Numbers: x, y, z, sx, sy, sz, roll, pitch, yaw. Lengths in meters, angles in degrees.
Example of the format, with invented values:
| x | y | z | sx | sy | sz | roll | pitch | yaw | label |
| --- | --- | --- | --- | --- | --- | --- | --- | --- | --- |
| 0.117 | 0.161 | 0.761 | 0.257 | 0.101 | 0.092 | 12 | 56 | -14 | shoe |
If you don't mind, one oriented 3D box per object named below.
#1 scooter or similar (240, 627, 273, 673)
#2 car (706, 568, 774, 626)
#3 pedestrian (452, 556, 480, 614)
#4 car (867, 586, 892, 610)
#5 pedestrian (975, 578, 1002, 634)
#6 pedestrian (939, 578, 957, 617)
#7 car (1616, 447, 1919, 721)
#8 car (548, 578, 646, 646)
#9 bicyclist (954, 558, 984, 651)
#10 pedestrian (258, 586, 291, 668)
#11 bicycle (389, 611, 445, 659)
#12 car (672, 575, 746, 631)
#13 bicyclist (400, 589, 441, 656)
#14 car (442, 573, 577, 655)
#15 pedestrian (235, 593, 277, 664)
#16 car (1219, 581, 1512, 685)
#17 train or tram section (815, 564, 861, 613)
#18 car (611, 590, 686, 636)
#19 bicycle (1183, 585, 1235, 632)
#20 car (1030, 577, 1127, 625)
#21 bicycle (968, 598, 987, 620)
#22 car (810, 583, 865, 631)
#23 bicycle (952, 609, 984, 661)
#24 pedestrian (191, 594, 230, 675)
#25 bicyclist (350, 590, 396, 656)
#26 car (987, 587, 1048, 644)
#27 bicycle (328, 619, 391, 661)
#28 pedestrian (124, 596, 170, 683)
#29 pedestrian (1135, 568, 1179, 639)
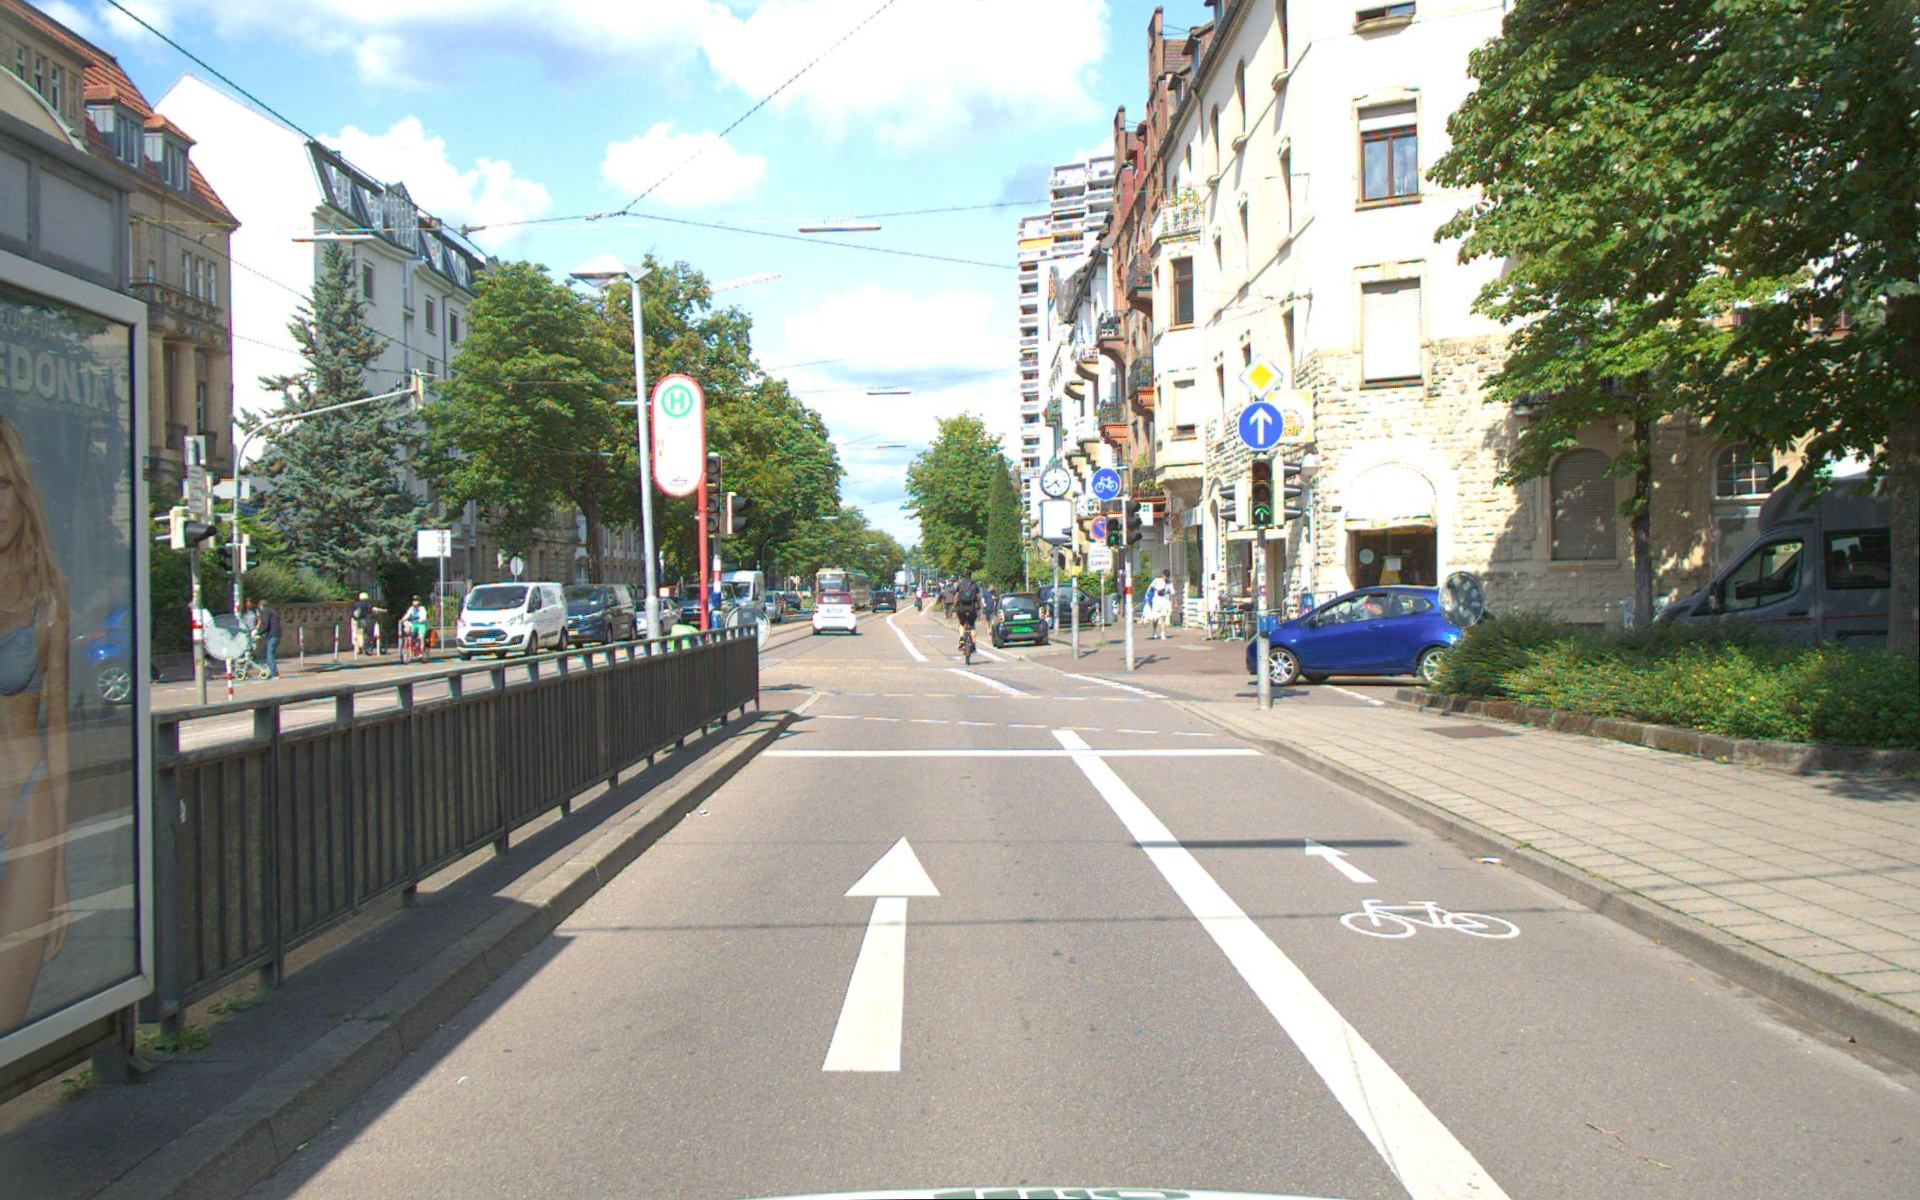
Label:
| x | y | z | sx | sy | sz | roll | pitch | yaw | label |
| --- | --- | --- | --- | --- | --- | --- | --- | --- | --- |
| -14.665 | 1.041 | 34.497 | 0.538 | 0.938 | 0.498 | 1 | -1 | -15 | scooter or similar |
| -10.074 | -0.194 | 76.277 | 2.268 | 2.551 | 6.363 | -1 | 1 | 0 | car |
| -17.734 | -0.539 | 59.403 | 0.475 | 2.049 | 0.803 | 1 | -1 | 32 | pedestrian |
| -5.829 | -0.150 | 120.384 | 1.631 | 1.653 | 3.620 | -1 | 0 | -1 | car |
| 0.980 | 0.211 | 57.567 | 0.647 | 1.873 | 0.871 | -5 | 0 | -9 | pedestrian |
| -0.605 | -0.120 | 81.479 | 0.773 | 1.894 | 0.579 | -1 | -4 | -8 | pedestrian |
| 10.814 | -0.184 | 17.945 | 2.370 | 2.843 | 6.578 | -1 | 1 | -40 | car |
| -11.230 | 0.353 | 51.474 | 1.888 | 1.950 | 5.123 | -2 | 0 | 0 | car |
| 0.194 | 0.104 | 35.874 | 0.595 | 1.982 | 1.130 | 1 | 0 | -1 | bicyclist |
| -14.394 | 0.565 | 34.743 | 0.511 | 1.686 | 0.749 | 1 | -1 | -14 | pedestrian |
| -13.983 | 0.899 | 42.646 | 0.828 | 1.180 | 1.954 | 2 | 0 | -2 | bicycle |
| -10.324 | 0.169 | 68.411 | 1.944 | 1.998 | 5.181 | -1 | -3 | 4 | car |
| -13.959 | 0.581 | 42.803 | 0.821 | 1.725 | 0.672 | 1 | -1 | -3 | bicyclist |
| -11.931 | 0.367 | 44.175 | 1.952 | 2.030 | 5.090 | 1 | 0 | 3 | car |
| -17.011 | 0.690 | 39.974 | 0.509 | 1.686 | 0.817 | 1 | -1 | 19 | pedestrian |
| 6.122 | 0.476 | 25.111 | 3.918 | 1.443 | 1.886 | -1 | 0 | 35 | car |
| -9.495 | -0.833 | 129.576 | 2.599 | 3.496 | 12.313 | -3 | 0 | 0 | train or tram section |
| -11.049 | 0.432 | 59.010 | 1.657 | 1.506 | 4.483 | -2 | 1 | 2 | car |
| 6.595 | 0.211 | 43.976 | 0.789 | 1.198 | 2.750 | 1 | 0 | -4 | bicycle |
| 4.206 | 0.029 | 59.269 | 3.331 | 1.550 | 1.972 | -3 | 0 | 1 | car |
| 0.790 | 0.404 | 76.447 | 0.587 | 0.977 | 3.064 | -4 | 1 | -4 | bicycle |
| -4.409 | 0.254 | 59.846 | 1.631 | 1.653 | 3.621 | 1 | 0 | 1 | car |
| 0.170 | 0.762 | 35.894 | 0.603 | 1.063 | 1.835 | -4 | -2 | -1 | bicycle |
| -15.851 | 0.727 | 34.997 | 0.600 | 1.686 | 0.723 | 1 | 1 | -15 | pedestrian |
| -15.288 | 0.599 | 43.109 | 0.931 | 1.673 | 0.701 | 1 | -1 | -2 | bicyclist |
| 1.660 | 0.437 | 48.286 | 1.483 | 1.525 | 2.792 | -3 | 0 | -3 | car |
| -15.630 | 1.033 | 43.104 | 0.978 | 0.949 | 1.860 | 3 | 1 | -2 | bicycle |
| -16.524 | 0.794 | 33.625 | 0.612 | 1.728 | 0.846 | 1 | -1 | -13 | pedestrian |
| 5.136 | 0.083 | 43.182 | 0.990 | 1.799 | 0.850 | -3 | 1 | 0 | pedestrian |
